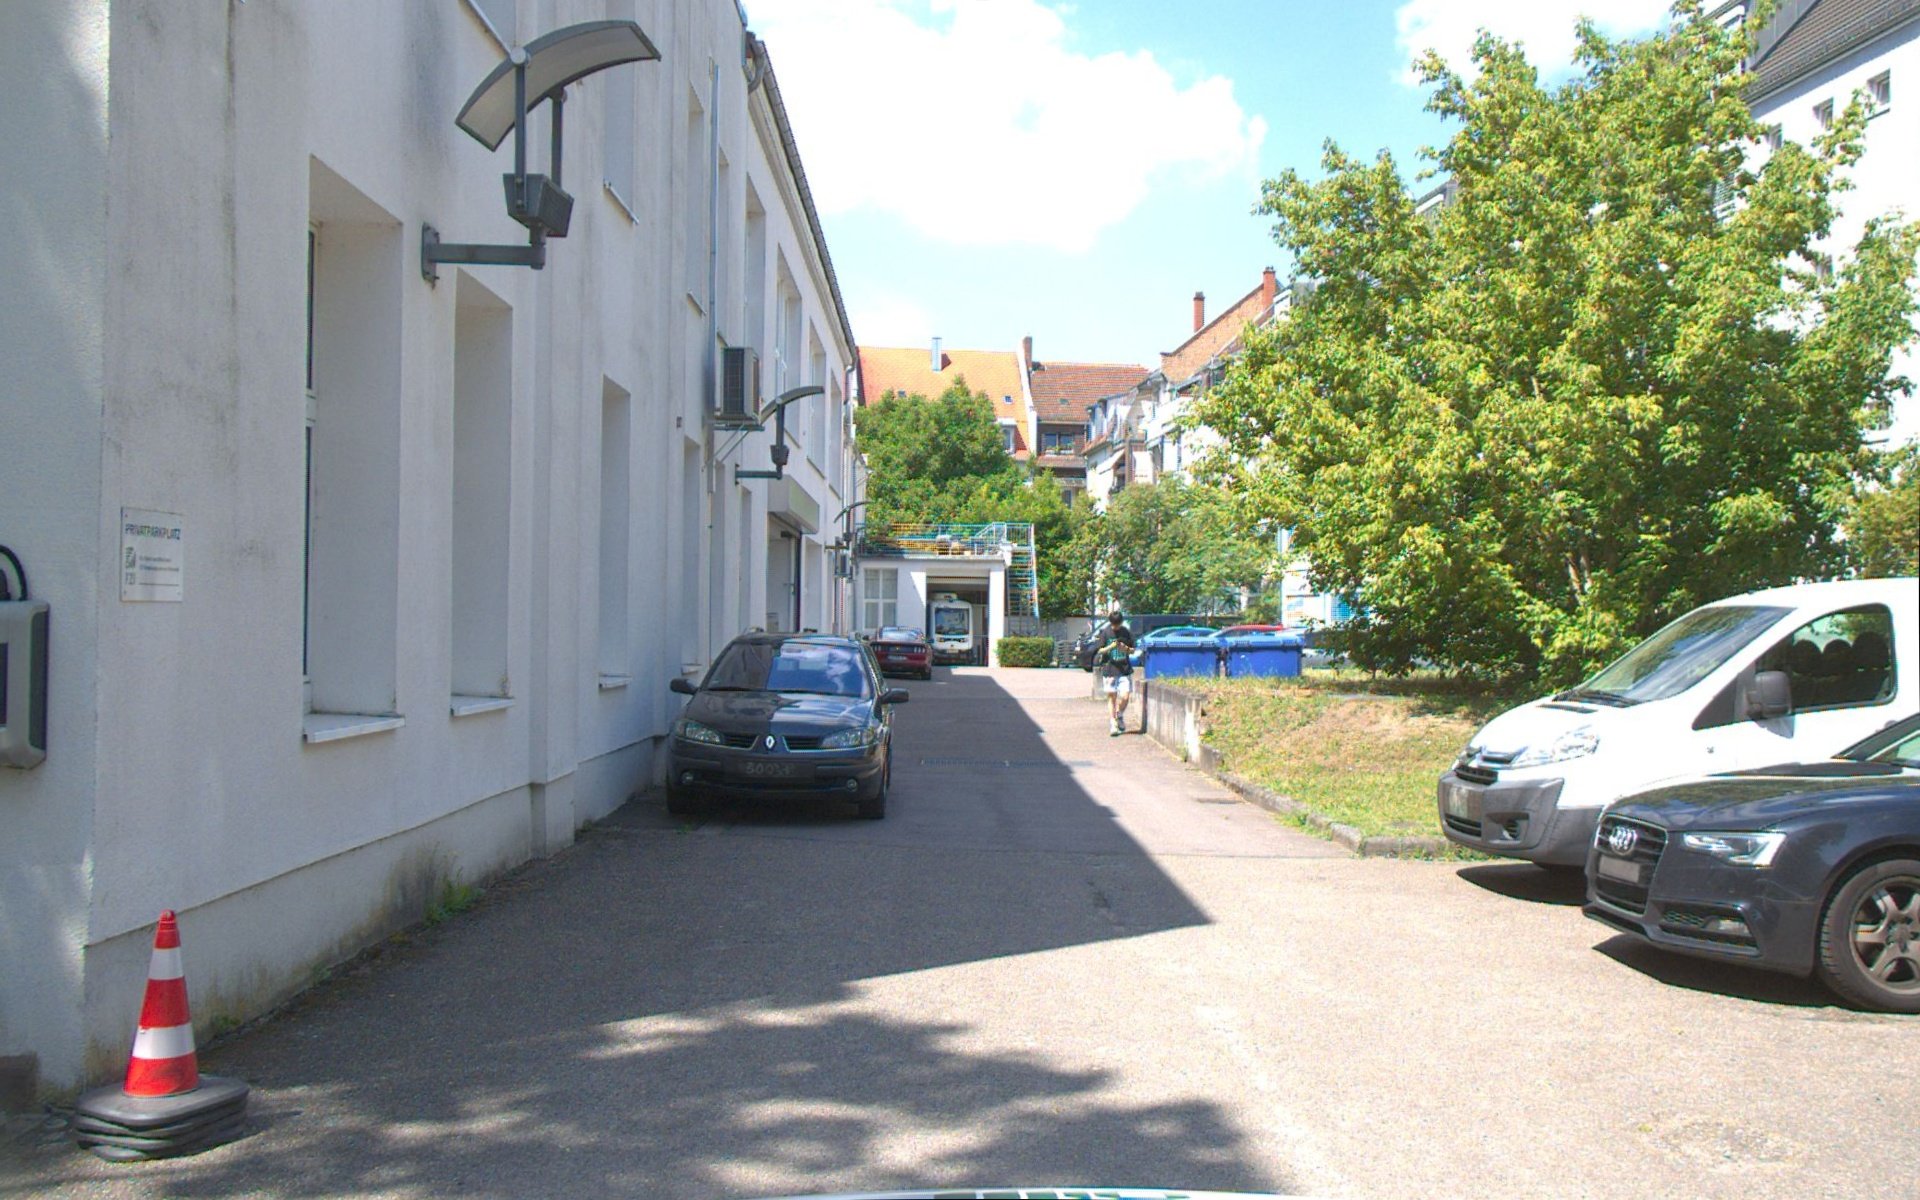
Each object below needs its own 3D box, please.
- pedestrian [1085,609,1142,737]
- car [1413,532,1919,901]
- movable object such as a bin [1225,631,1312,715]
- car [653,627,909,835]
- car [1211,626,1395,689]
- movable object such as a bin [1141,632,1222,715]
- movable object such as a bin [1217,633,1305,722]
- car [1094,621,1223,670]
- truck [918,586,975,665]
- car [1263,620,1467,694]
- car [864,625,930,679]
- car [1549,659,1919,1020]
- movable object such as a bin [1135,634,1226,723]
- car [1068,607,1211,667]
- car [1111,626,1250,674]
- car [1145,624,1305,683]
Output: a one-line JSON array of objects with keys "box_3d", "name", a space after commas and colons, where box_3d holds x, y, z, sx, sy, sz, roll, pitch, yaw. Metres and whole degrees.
[{"box_3d": [2.193, 1.029, 23.683, 0.741, 1.786, 0.751, 1, -1, 0], "name": "pedestrian"}, {"box_3d": [5.424, 0.681, 10.309, 4.662, 2.049, 1.999, 0, -1, -1], "name": "car"}, {"box_3d": [5.148, 1.207, 27.659, 1.192, 1.350, 1.160, 0, -1, -3], "name": "movable object such as a bin"}, {"box_3d": [-1.385, 1.001, 14.360, 1.719, 1.455, 4.386, 0, 0, 0], "name": "car"}, {"box_3d": [8.005, 1.326, 38.791, 3.907, 1.414, 1.803, 0, -1, -3], "name": "car"}, {"box_3d": [3.694, 1.217, 27.671, 1.169, 1.350, 1.160, 0, -1, -3], "name": "movable object such as a bin"}, {"box_3d": [4.710, 1.205, 25.970, 1.191, 1.350, 1.160, 0, -1, 1], "name": "movable object such as a bin"}, {"box_3d": [6.352, 1.447, 53.165, 3.907, 1.561, 1.803, 0, -1, -3], "name": "car"}, {"box_3d": [-0.568, 1.009, 65.143, 1.753, 2.989, 4.647, 1, -1, -6], "name": "truck"}, {"box_3d": [8.593, 1.193, 35.291, 3.907, 1.504, 1.803, 0, -1, -3], "name": "car"}, {"box_3d": [-1.734, 1.414, 46.010, 1.762, 1.414, 3.998, 0, 0, -2], "name": "car"}, {"box_3d": [5.277, 1.005, 7.573, 4.518, 1.376, 1.833, 0, 0, -1], "name": "car"}, {"box_3d": [3.441, 1.214, 25.922, 1.311, 1.350, 1.160, 0, -1, 1], "name": "movable object such as a bin"}, {"box_3d": [6.054, 1.245, 56.202, 4.584, 1.992, 2.075, 0, -1, -3], "name": "car"}, {"box_3d": [6.657, 1.512, 50.191, 3.907, 1.414, 1.803, 0, -1, -3], "name": "car"}, {"box_3d": [6.939, 1.391, 43.558, 3.907, 1.504, 1.803, 0, -1, -3], "name": "car"}]
